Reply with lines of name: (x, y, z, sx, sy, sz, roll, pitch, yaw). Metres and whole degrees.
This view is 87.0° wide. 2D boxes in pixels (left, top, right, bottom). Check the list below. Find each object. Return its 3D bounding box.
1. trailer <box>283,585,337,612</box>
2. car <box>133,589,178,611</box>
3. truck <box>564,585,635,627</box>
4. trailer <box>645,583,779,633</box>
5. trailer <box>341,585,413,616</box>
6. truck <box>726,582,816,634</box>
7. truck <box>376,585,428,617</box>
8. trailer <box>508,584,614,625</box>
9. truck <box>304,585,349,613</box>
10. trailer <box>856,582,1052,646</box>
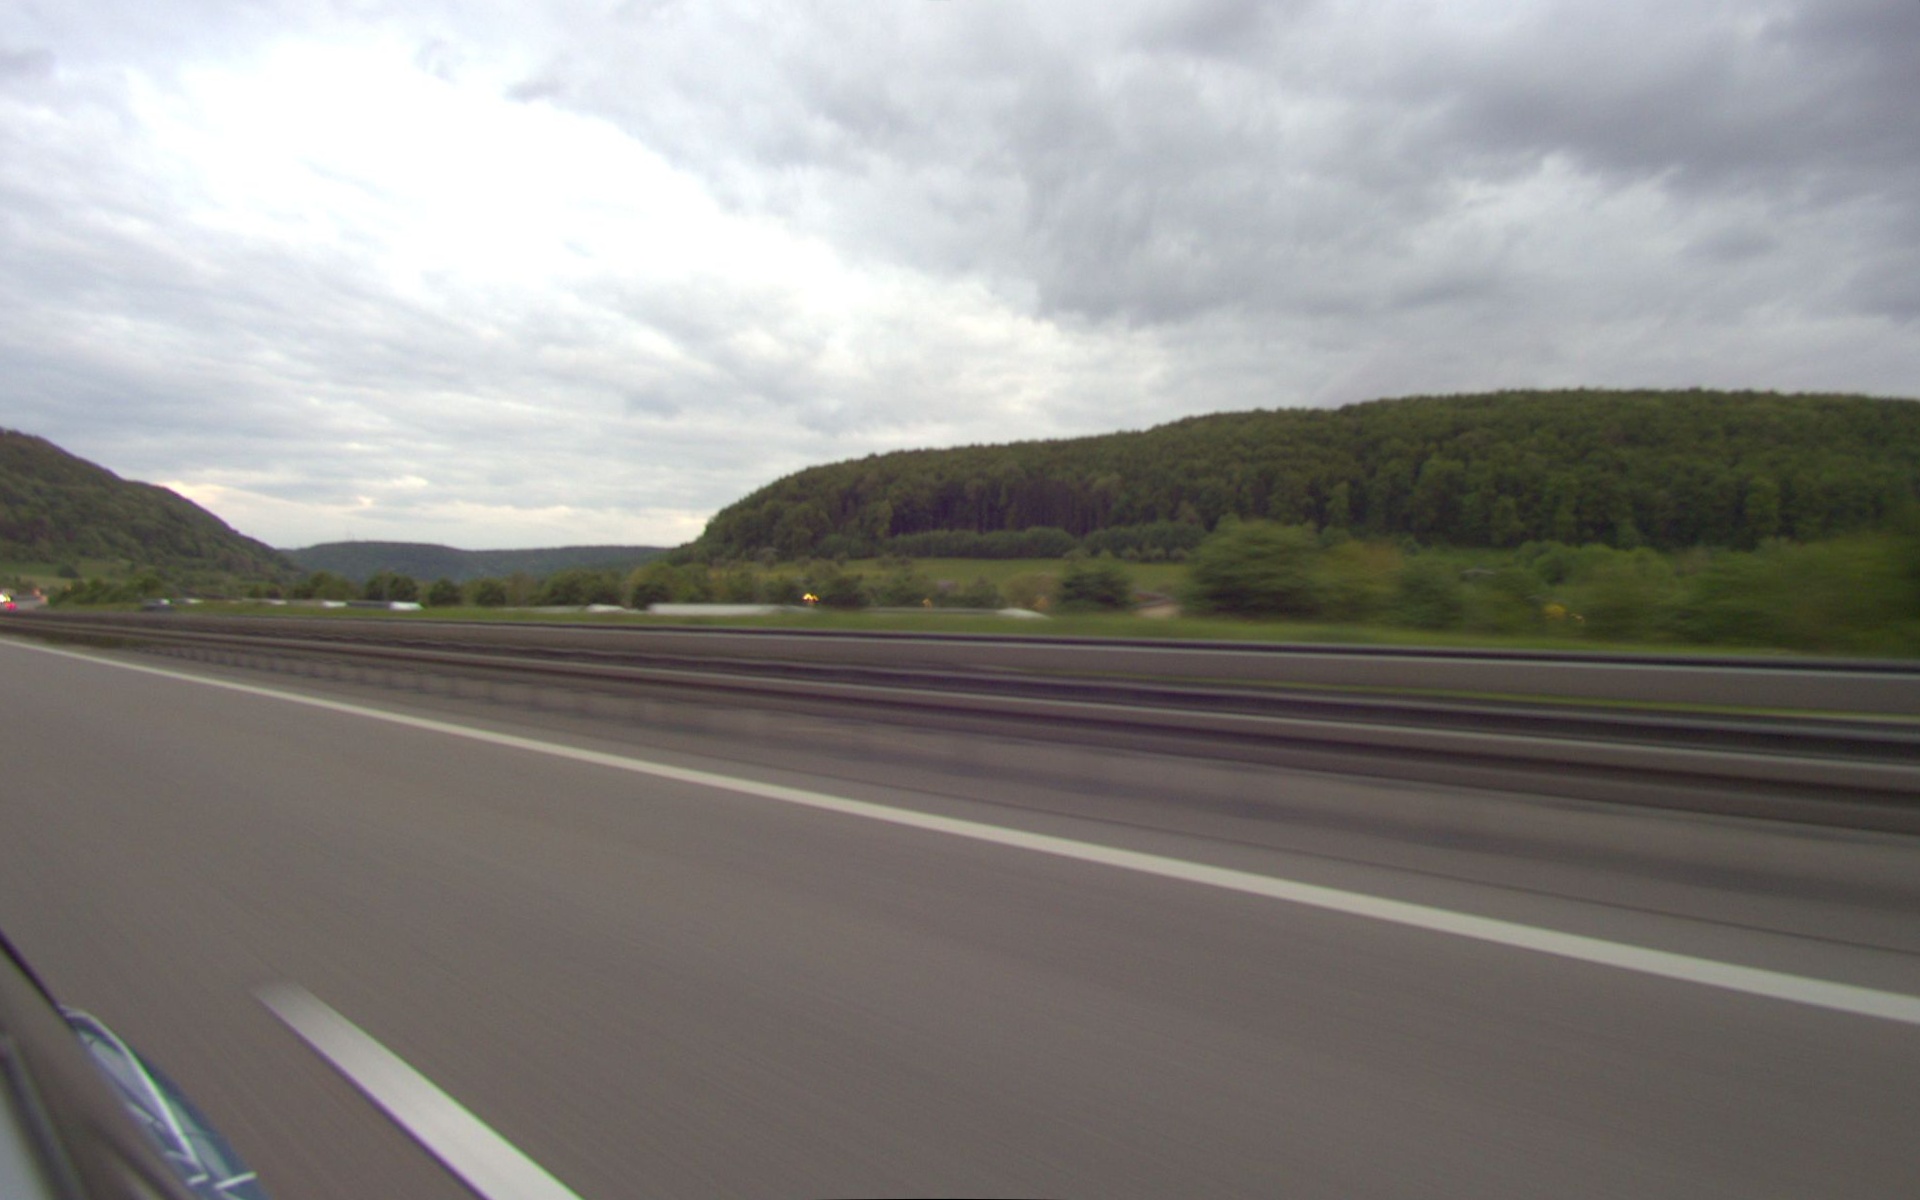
trailer: (-79.094, -0.192, 123.001, 10.153, 3.112, 2.837, 1, -1, 42)
car: (-68.148, -0.010, 85.695, 5.113, 1.714, 1.973, 0, -3, 41)
truck: (-27.318, 0.430, 76.657, 5.302, 3.112, 2.837, 1, -1, 41)
trailer: (-16.720, 0.455, 67.466, 11.156, 3.112, 2.837, 1, -1, 42)
trailer: (-62.653, 0.008, 108.571, 12.481, 3.112, 2.837, 1, -1, 42)
truck: (-11.788, 0.500, 63.077, 5.302, 3.112, 2.837, 1, -1, 41)
truck: (-57.267, 0.073, 103.753, 5.891, 3.112, 2.837, 1, -1, 41)
trailer: (-31.997, 0.362, 80.711, 11.722, 3.076, 2.843, 0, -1, 42)
truck: (-74.391, -0.135, 118.808, 5.891, 3.112, 2.837, 1, -1, 41)
trailer: (-0.570, 0.653, 53.531, 11.150, 3.112, 2.838, 1, -1, 40)
